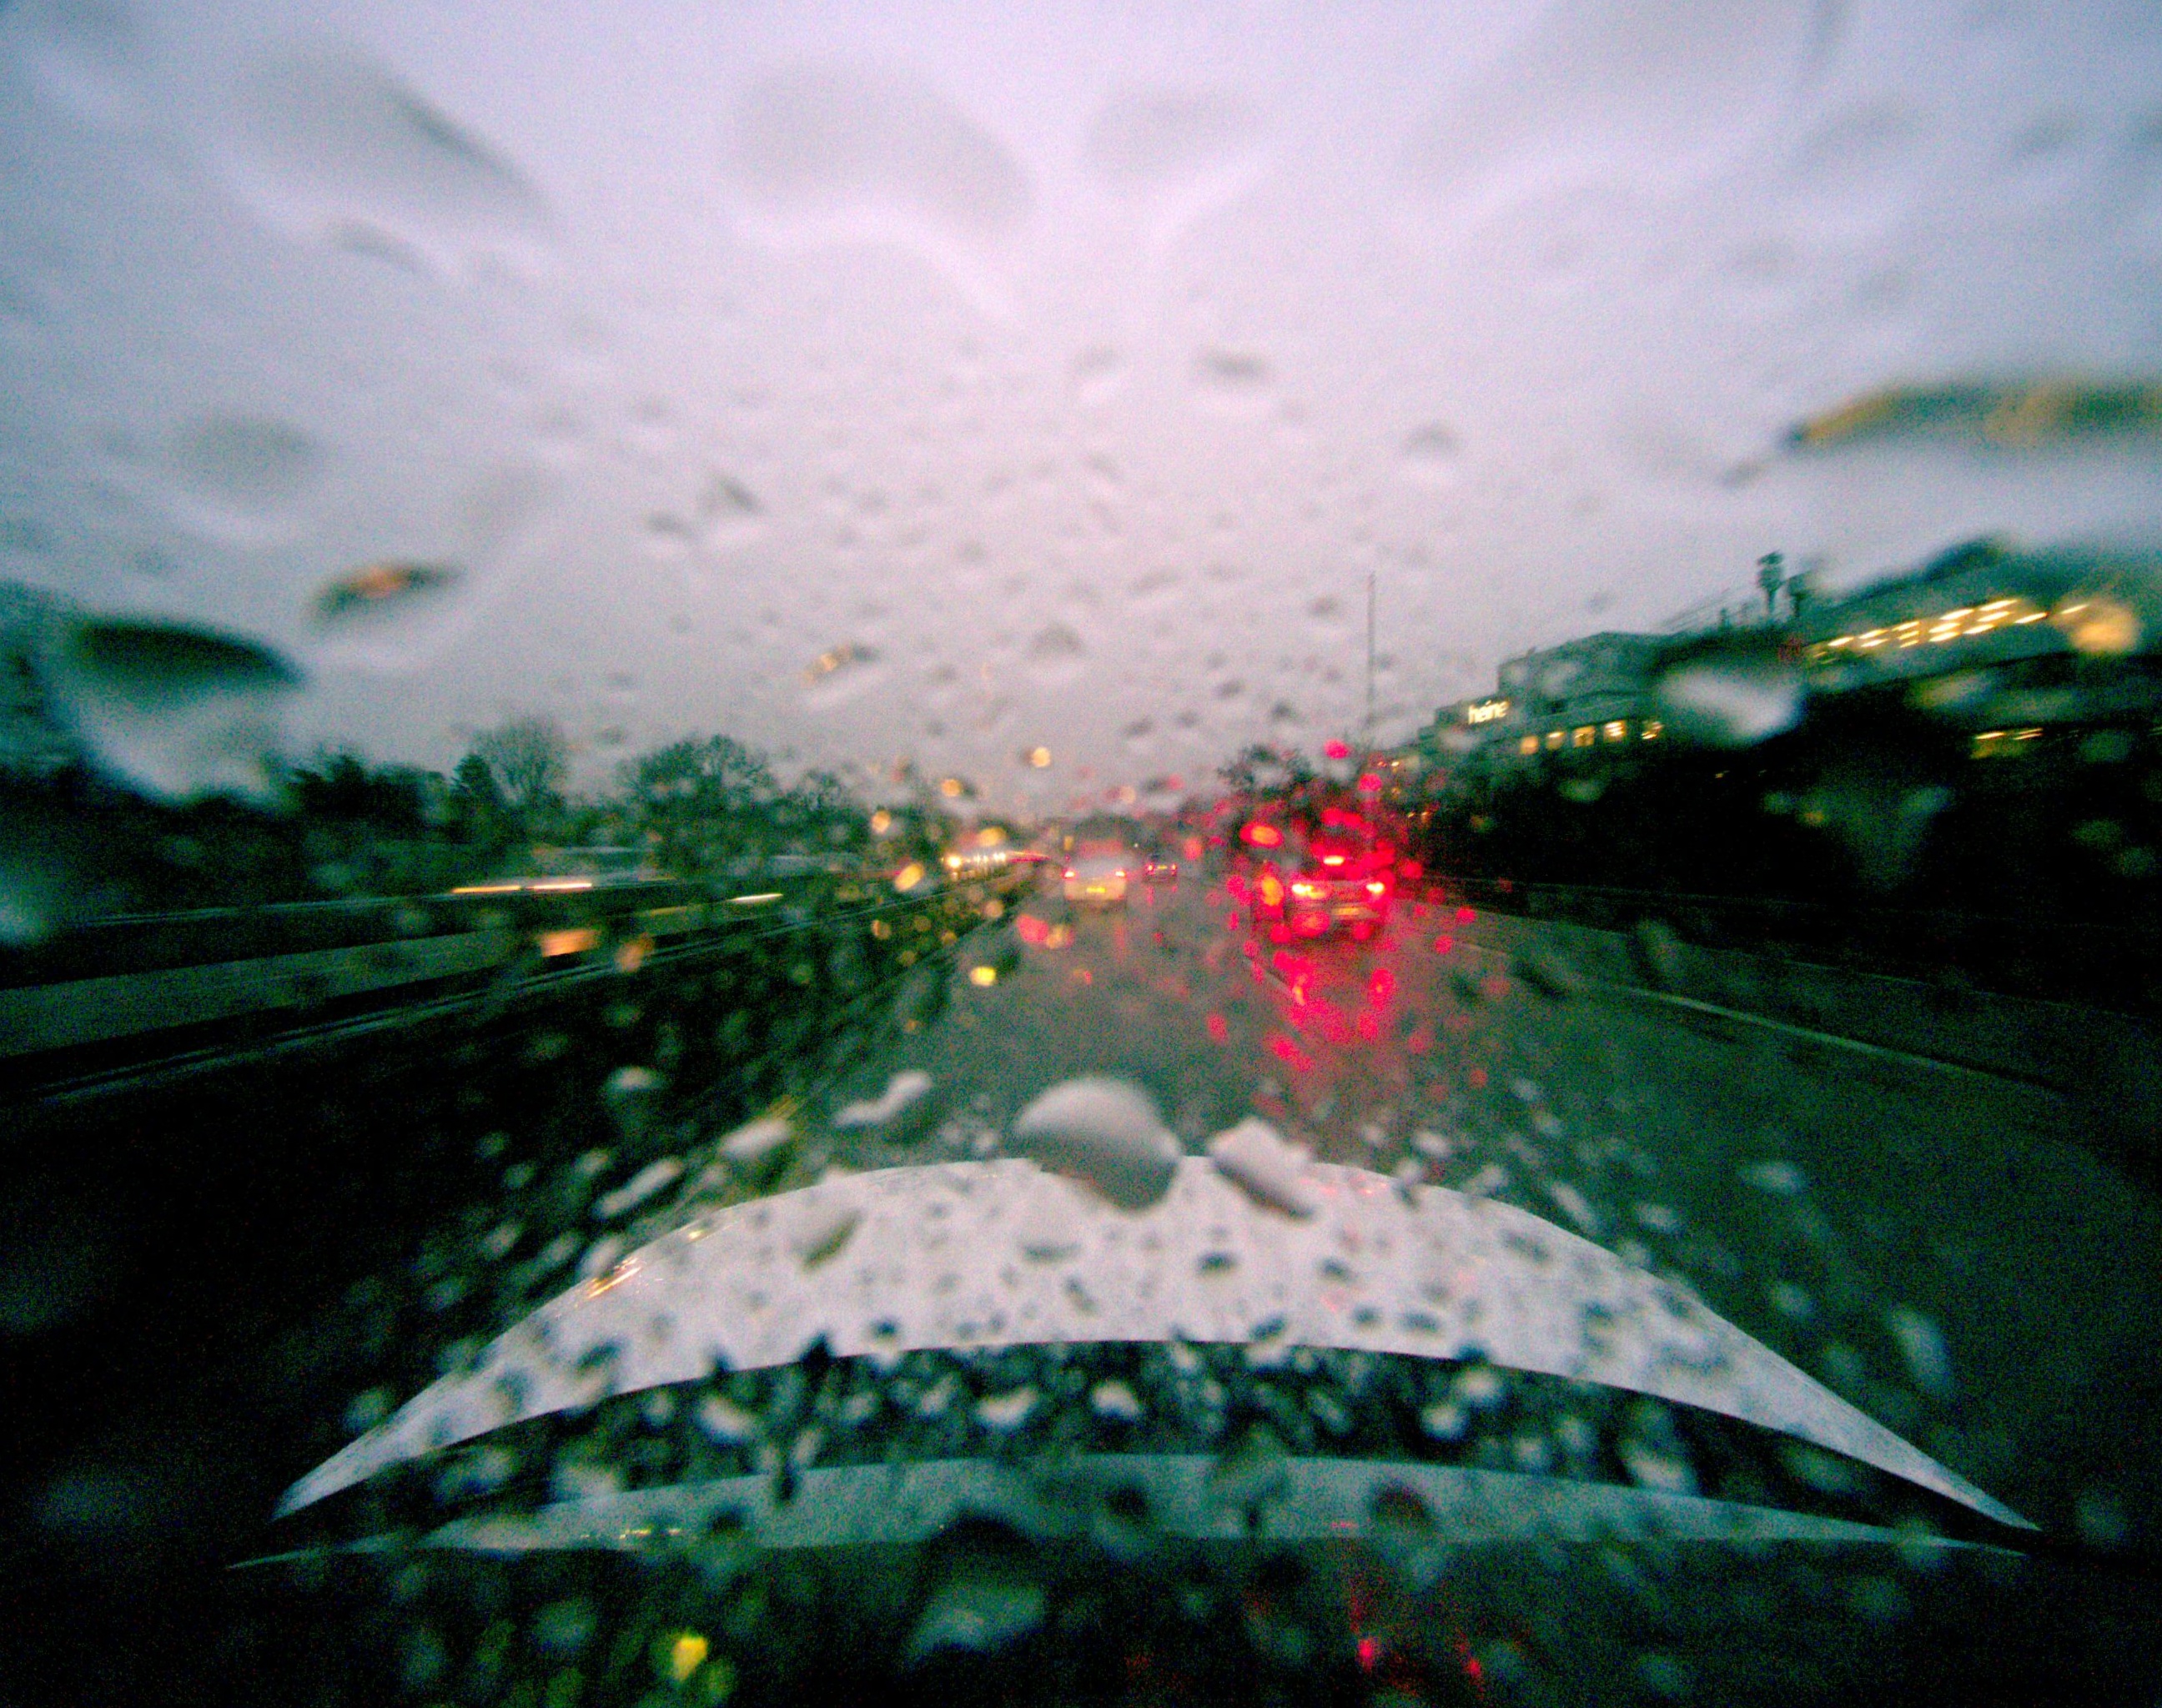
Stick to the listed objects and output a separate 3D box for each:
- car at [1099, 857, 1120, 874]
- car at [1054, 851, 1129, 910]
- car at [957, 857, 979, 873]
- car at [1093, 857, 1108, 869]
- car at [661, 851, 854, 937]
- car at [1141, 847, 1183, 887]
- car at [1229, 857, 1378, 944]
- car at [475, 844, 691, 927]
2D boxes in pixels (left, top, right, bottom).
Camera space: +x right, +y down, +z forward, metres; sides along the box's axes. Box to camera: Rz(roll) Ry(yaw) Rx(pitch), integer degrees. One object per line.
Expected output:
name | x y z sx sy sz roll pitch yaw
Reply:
car | 2.945 1.181 84.803 1.927 1.546 3.771 -6 0 -1
car | 0.253 0.723 23.858 2.019 1.575 3.998 0 0 -1
car | -10.985 1.055 79.426 1.692 1.441 3.680 0 0 -1
car | 2.608 1.214 108.076 1.926 1.546 3.773 0 0 0
car | -6.123 0.680 16.109 1.859 1.449 4.647 0 0 1
car | 4.237 0.681 43.174 1.926 2.019 3.774 0 0 1
car | 4.243 0.816 16.221 1.843 1.501 4.262 0 0 0
car | -10.967 0.625 18.444 1.859 1.627 4.780 0 0 1
